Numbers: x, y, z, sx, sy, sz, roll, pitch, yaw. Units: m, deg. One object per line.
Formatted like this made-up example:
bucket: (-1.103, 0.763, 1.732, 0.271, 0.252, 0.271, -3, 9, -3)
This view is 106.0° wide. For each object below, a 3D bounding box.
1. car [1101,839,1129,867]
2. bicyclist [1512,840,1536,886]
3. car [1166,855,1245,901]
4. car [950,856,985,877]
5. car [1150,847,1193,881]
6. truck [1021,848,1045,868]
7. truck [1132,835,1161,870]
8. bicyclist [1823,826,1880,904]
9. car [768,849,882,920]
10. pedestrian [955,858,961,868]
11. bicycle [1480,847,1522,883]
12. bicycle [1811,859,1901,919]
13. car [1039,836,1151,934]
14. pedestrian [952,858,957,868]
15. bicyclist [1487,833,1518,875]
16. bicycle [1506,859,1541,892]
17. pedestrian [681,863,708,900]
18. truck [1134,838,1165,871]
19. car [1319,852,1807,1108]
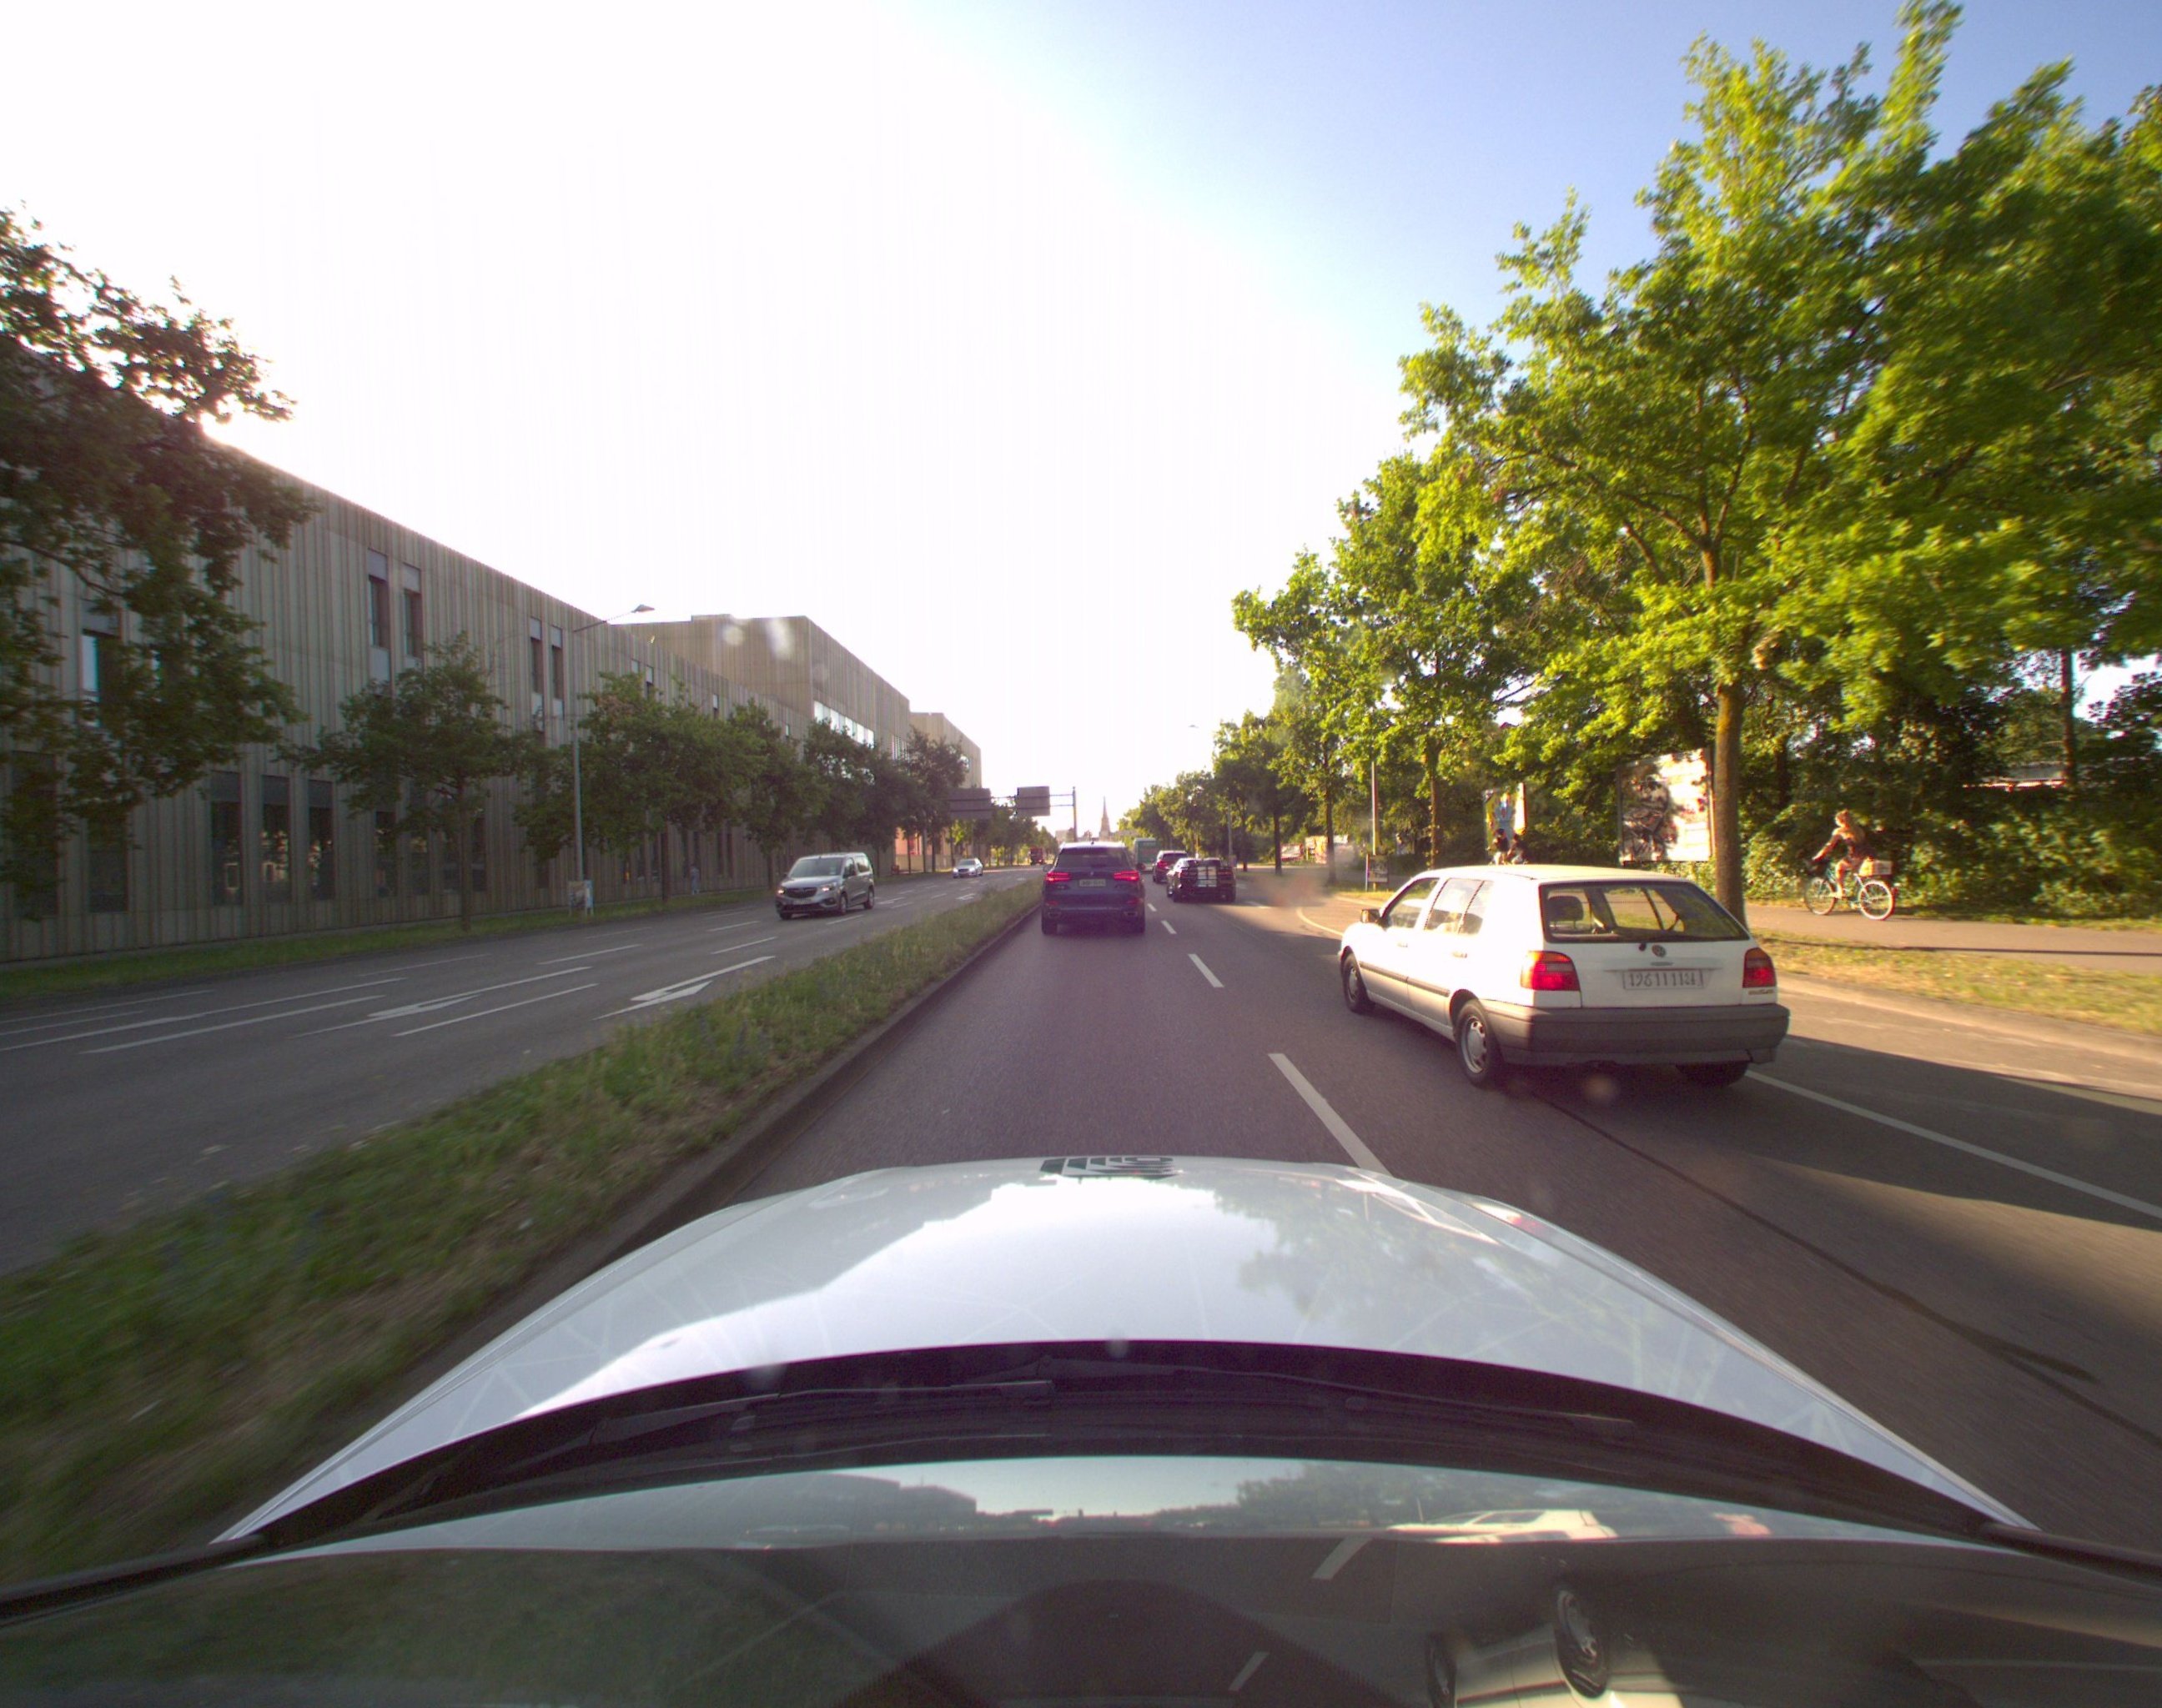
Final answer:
car: (3.177, -0.066, 76.687, 2.132, 2.576, 5.080, 0, -1, -3)
bicyclist: (12.641, 0.259, 23.265, 0.426, 1.309, 0.460, -1, -1, 2)
car: (3.809, 0.733, 25.574, 1.986, 1.295, 4.001, -1, -1, 2)
car: (-9.156, 1.027, 65.918, 1.987, 1.452, 4.714, -6, -1, 0)
car: (4.422, 0.507, 40.227, 1.789, 1.559, 4.001, -1, -1, 2)
truck: (-9.697, 0.888, 166.500, 3.974, 4.088, 11.450, -1, -1, 1)
truck: (5.101, -0.093, 63.862, 1.988, 2.669, 4.001, -1, -1, 2)
bicyclist: (12.497, 0.177, 13.214, 0.426, 1.233, 0.460, -2, -1, 2)
car: (-7.462, 0.863, 24.214, 1.750, 1.777, 4.494, -6, -1, 1)
pedestrian: (-18.014, 1.333, 119.311, 0.624, 1.522, 0.719, -1, -1, 4)
bicycle: (13.604, 0.362, 26.414, 0.562, 1.112, 1.622, -1, -1, 2)
bicycle: (12.515, 0.554, 13.175, 0.436, 0.914, 1.027, -3, -1, 2)
car: (0.316, 0.600, 16.822, 1.986, 1.734, 4.534, -1, -1, 2)
pedestrian: (-18.641, 1.349, 119.821, 0.624, 1.522, 0.719, -1, -1, 4)
bicyclist: (13.611, 0.000, 26.319, 0.541, 1.316, 0.835, -1, -1, 2)
bicycle: (12.640, 0.612, 23.287, 0.436, 0.914, 1.027, -1, -1, 2)
pedestrian: (-21.516, 1.537, 45.404, 1.014, 2.014, 0.962, -1, -1, 2)
truck: (4.936, 0.077, 59.171, 1.988, 2.315, 4.001, -1, -1, 2)
car: (3.275, 0.739, 6.573, 1.573, 1.413, 4.062, -1, -1, 1)
